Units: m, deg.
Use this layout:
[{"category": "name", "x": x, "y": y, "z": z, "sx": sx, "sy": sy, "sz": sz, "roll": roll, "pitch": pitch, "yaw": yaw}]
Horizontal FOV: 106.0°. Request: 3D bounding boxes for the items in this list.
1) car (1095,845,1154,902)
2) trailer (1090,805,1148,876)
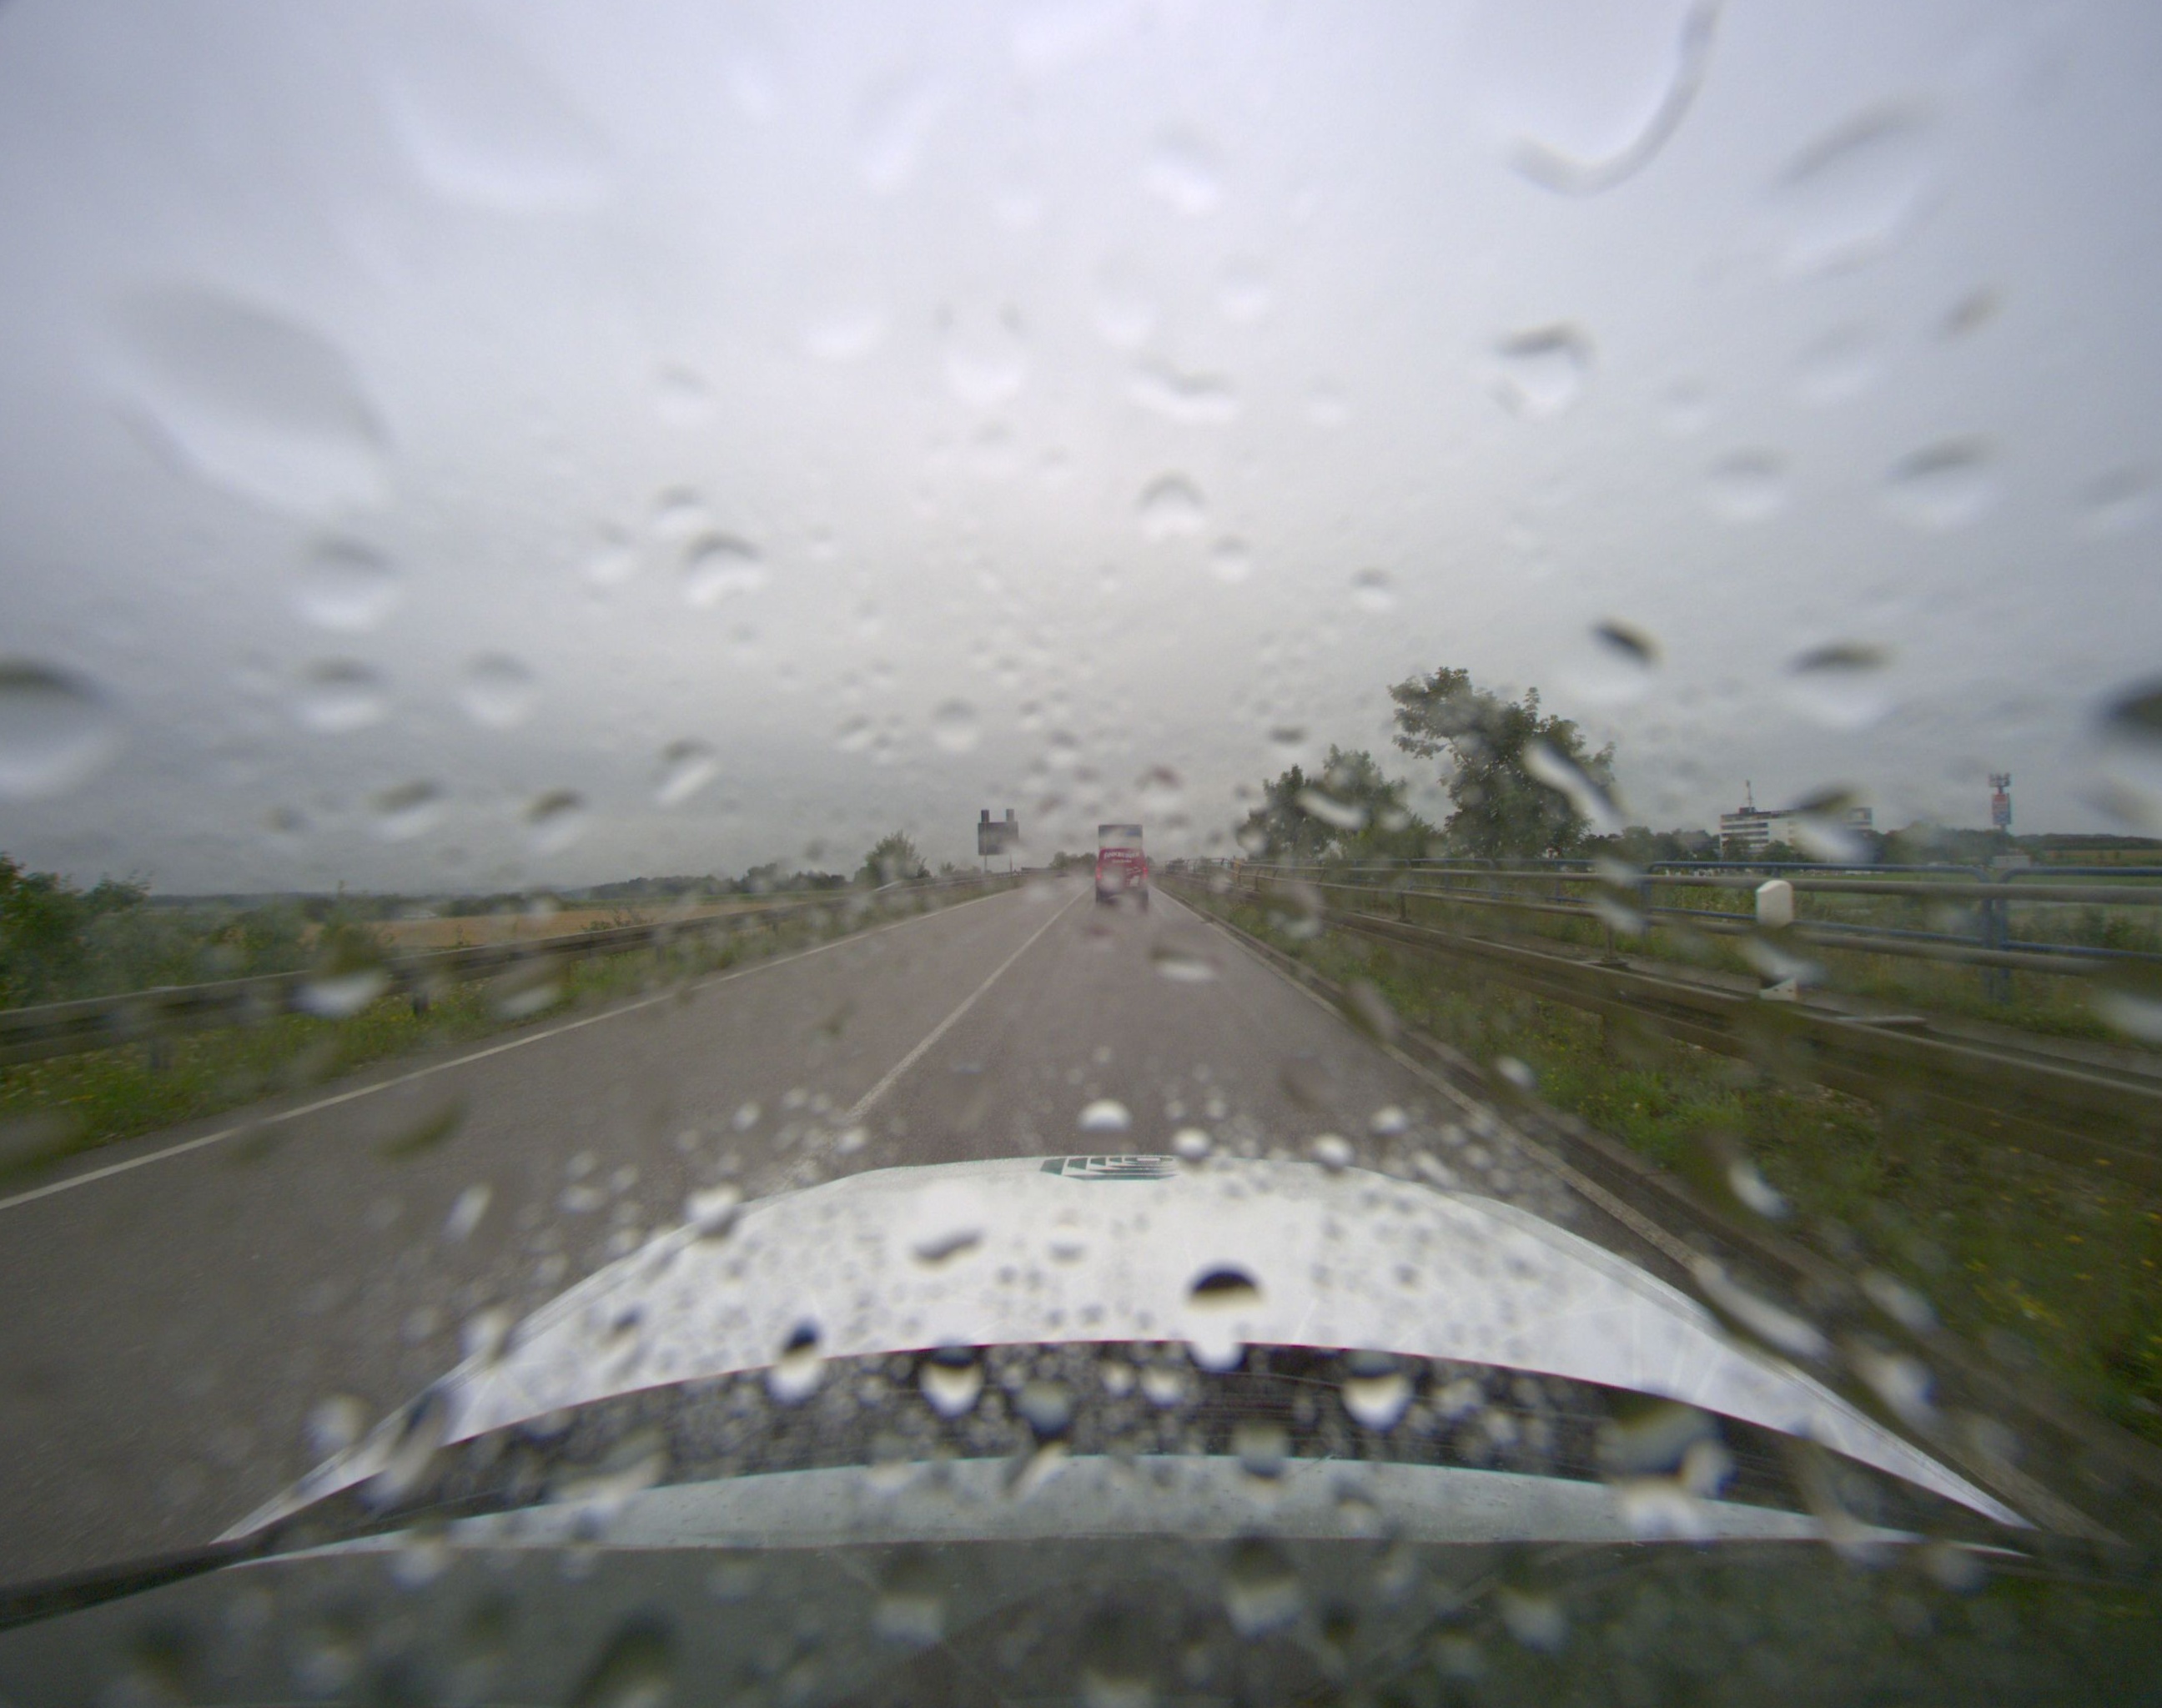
[{"category": "car", "x": 1.539, "y": 0.681, "z": 29.710, "sx": 1.986, "sy": 1.926, "sz": 4.145, "roll": 0, "pitch": 0, "yaw": 2}, {"category": "trailer", "x": 2.446, "y": -0.659, "z": 50.391, "sx": 3.187, "sy": 3.922, "sz": 8.747, "roll": 2, "pitch": -2, "yaw": 4}]
